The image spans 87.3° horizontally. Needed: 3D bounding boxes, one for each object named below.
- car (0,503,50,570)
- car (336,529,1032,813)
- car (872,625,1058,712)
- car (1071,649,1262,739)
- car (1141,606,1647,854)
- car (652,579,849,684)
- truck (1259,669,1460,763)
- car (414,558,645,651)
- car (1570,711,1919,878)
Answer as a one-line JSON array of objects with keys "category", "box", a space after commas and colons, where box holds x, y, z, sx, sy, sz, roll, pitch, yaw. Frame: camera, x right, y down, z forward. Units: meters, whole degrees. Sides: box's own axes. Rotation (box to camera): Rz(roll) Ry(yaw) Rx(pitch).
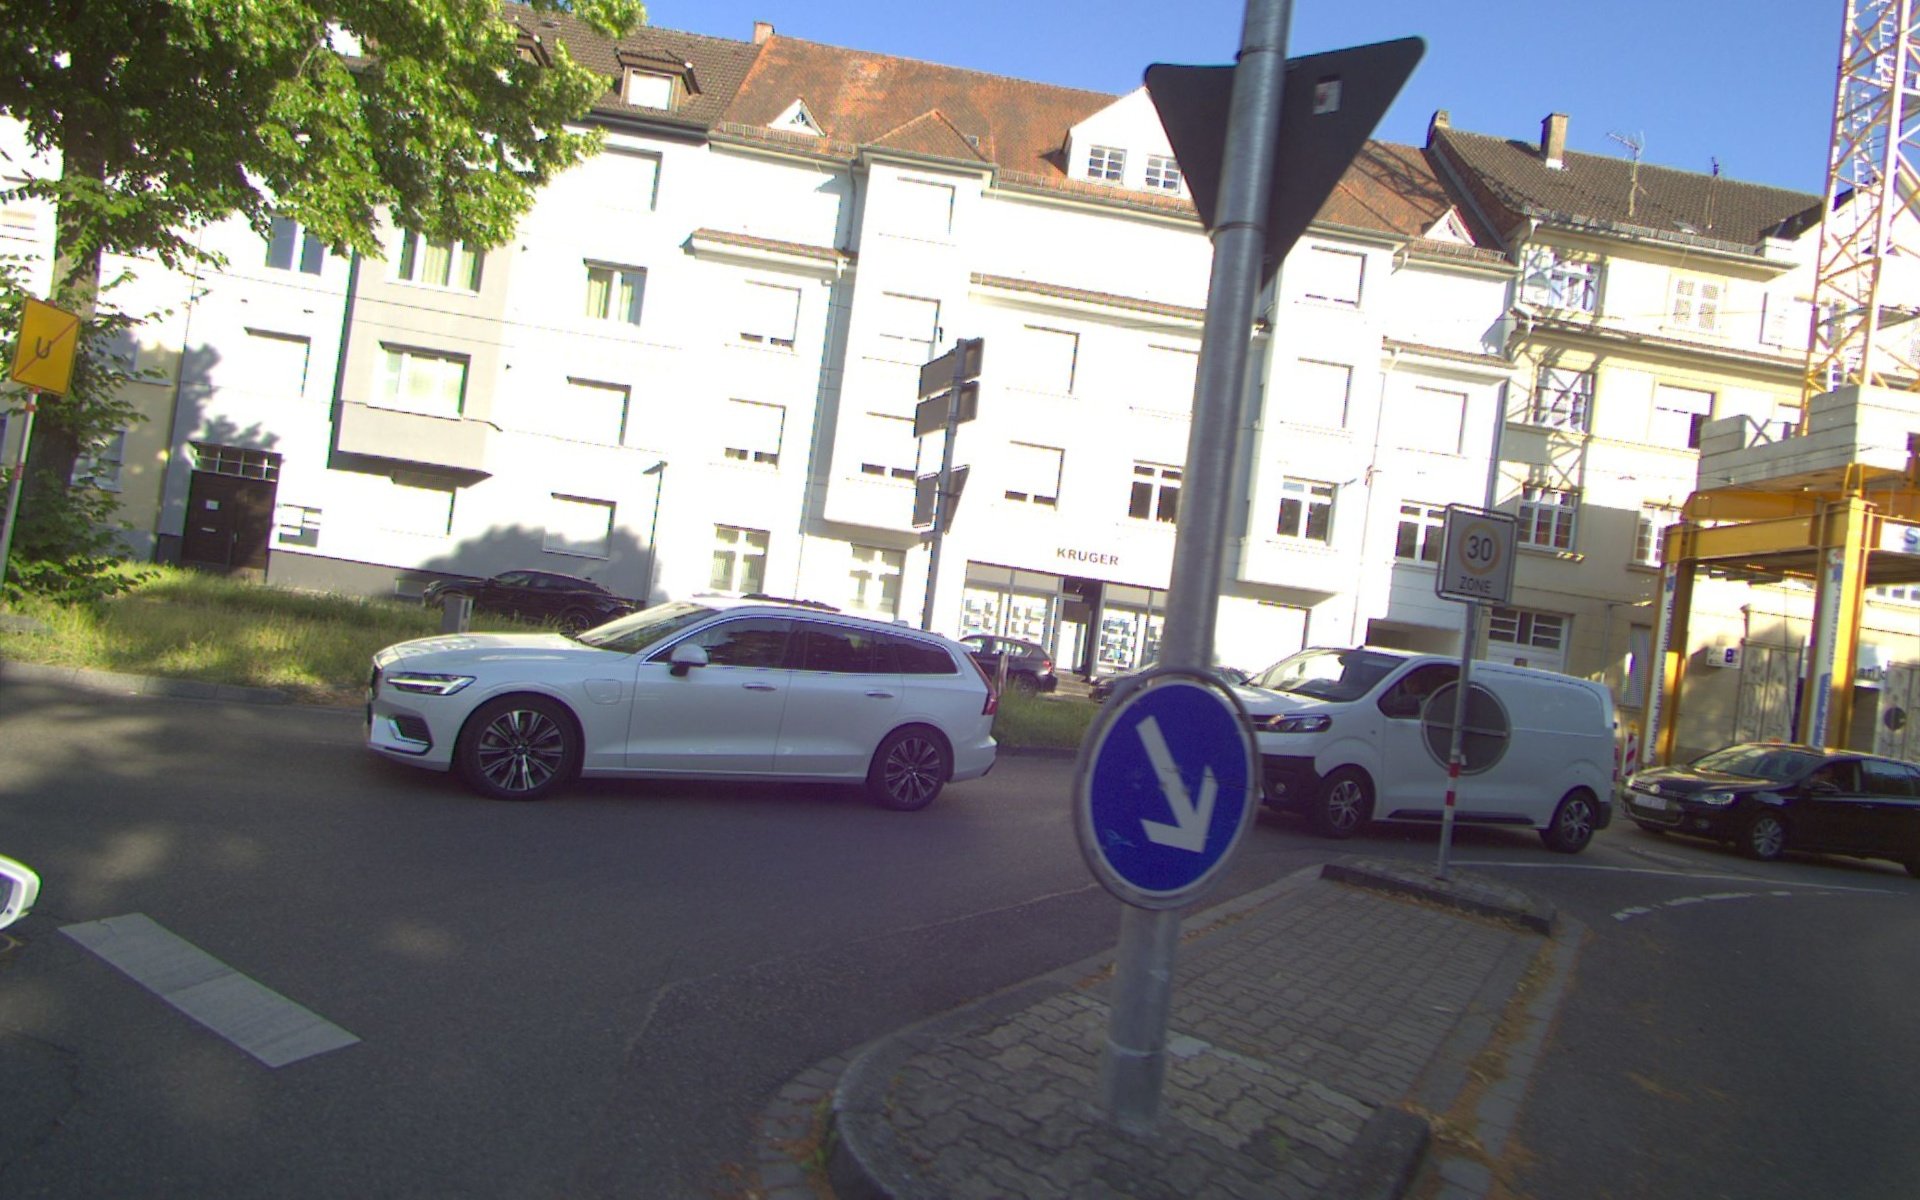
[{"category": "car", "box": [-23.387, -1.740, 22.262, 4.368, 1.402, 1.999, 9, -1, -5]}, {"category": "car", "box": [-1.943, 0.625, 7.744, 4.729, 1.480, 1.839, 10, -2, -33]}, {"category": "car", "box": [0.088, 1.608, 24.070, 4.134, 1.402, 2.000, 9, -1, -2]}, {"category": "car", "box": [4.933, 2.239, 24.430, 4.025, 1.469, 2.000, 9, -1, -4]}, {"category": "car", "box": [4.618, 1.388, 10.697, 4.840, 1.875, 1.990, 9, -1, -23]}, {"category": "car", "box": [-4.826, 0.744, 23.736, 4.136, 1.769, 1.999, 9, -1, -5]}, {"category": "truck", "box": [9.864, 2.845, 25.050, 4.025, 1.604, 2.000, 9, -1, -4]}, {"category": "car", "box": [-9.837, 0.134, 23.291, 4.368, 1.402, 1.999, 9, -1, -5]}, {"category": "car", "box": [10.684, 2.562, 13.334, 4.005, 1.461, 1.997, 9, -1, -9]}]
